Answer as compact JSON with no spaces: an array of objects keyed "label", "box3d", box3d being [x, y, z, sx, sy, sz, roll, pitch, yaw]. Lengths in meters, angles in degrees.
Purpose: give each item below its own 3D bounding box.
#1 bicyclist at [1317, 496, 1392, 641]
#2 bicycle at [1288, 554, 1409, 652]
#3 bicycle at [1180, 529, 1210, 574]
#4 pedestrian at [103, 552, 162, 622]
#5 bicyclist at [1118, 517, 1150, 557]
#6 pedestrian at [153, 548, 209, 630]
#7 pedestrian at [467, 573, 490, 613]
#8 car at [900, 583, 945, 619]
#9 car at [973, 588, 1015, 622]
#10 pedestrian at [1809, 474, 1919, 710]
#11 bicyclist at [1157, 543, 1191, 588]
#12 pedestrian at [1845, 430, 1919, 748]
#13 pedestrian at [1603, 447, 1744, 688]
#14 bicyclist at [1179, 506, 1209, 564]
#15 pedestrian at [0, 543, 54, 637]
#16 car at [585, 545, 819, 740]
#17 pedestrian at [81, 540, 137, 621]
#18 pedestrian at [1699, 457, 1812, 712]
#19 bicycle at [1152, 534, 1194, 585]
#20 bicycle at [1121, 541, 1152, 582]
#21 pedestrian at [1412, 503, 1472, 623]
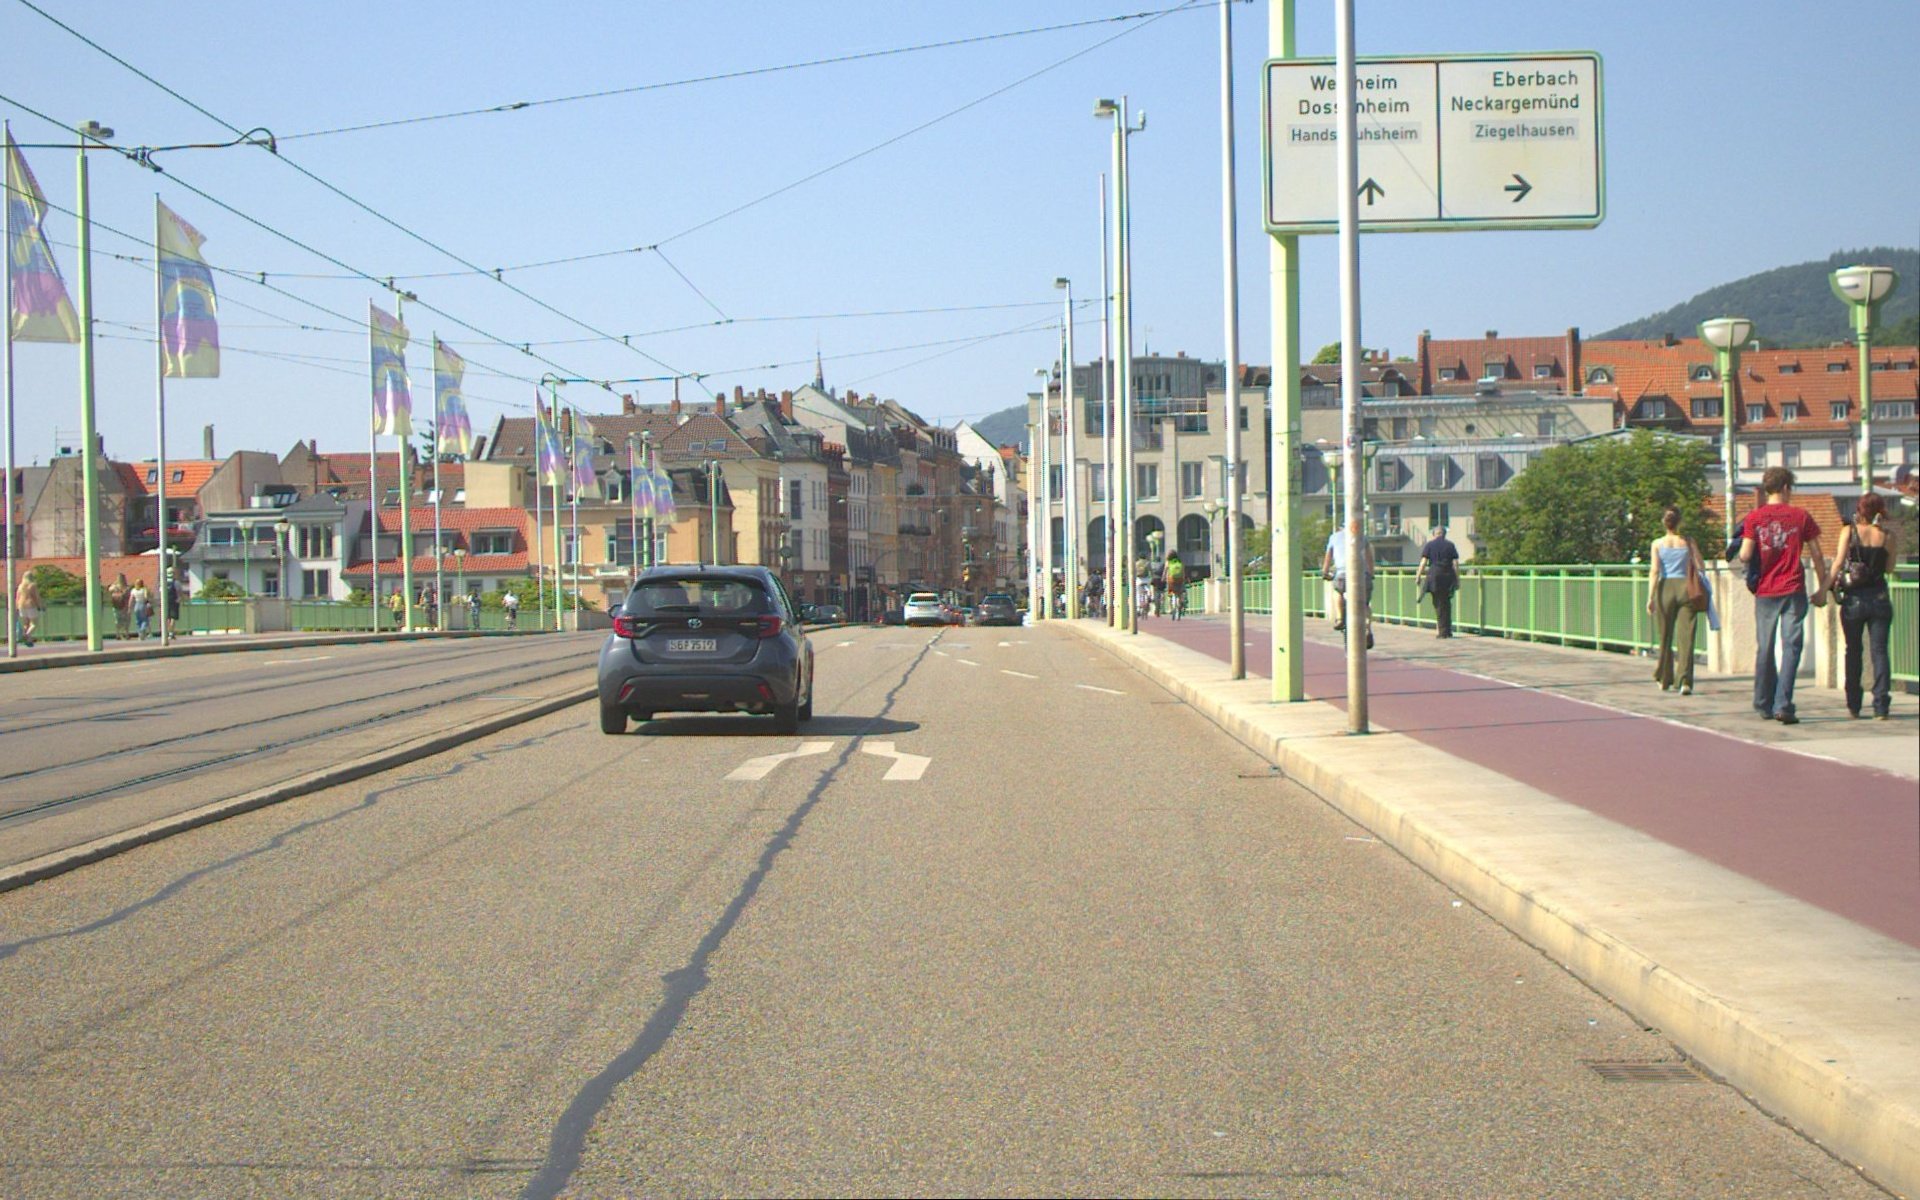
[{"label":"bicyclist","box3d":[4.830,-0.395,42.153,0.673,1.738,1.151,-2,1,-4]},{"label":"bicycle","box3d":[4.763,0.011,42.416,0.792,1.092,3.745,-2,1,-4]},{"label":"bicycle","box3d":[6.698,-1.381,98.058,0.618,1.266,2.216,-1,1,-1]},{"label":"pedestrian","box3d":[-20.718,-0.321,86.092,1.097,1.723,1.295,0,1,2]},{"label":"bicyclist","box3d":[4.513,-1.628,89.255,0.735,1.027,1.175,-1,1,-1]},{"label":"pedestrian","box3d":[-19.579,-0.294,86.411,1.097,2.007,1.295,-1,1,-2]},{"label":"pedestrian","box3d":[-20.741,-0.309,148.104,0.830,1.716,1.094,0,1,0]},{"label":"car","box3d":[-1.667,0.037,153.019,1.804,1.464,4.000,-3,1,-2]},{"label":"car","box3d":[1.633,0.214,163.368,1.804,1.464,4.000,-3,1,3]},{"label":"pedestrian","box3d":[6.441,-0.059,24.490,0.522,1.643,0.700,-1,1,-5]},{"label":"bicyclist","box3d":[5.057,-0.817,81.344,0.666,1.041,0.980,-1,1,-4]},{"label":"pedestrian","box3d":[6.134,-0.083,21.037,0.984,1.888,1.254,-1,1,-5]},{"label":"pedestrian","box3d":[6.100,-0.281,29.433,0.873,2.007,1.059,-1,1,-5]},{"label":"bicyclist","box3d":[6.672,-1.854,98.209,0.735,1.630,0.867,-1,1,-1]},{"label":"pedestrian","box3d":[-20.421,-0.230,75.112,0.968,2.007,1.102,-1,1,-5]},{"label":"car","box3d":[-2.272,0.332,31.162,1.910,1.535,4.001,-2,2,-2]},{"label":"pedestrian","box3d":[-21.465,-0.498,86.733,1.097,2.007,1.129,-1,1,-2]},{"label":"pedestrian","box3d":[5.687,-0.118,24.592,0.585,1.787,0.632,-1,1,-4]},{"label":"bicycle","box3d":[5.047,-0.955,81.509,0.695,1.189,2.079,-2,0,-4]},{"label":"bicycle","box3d":[4.577,-1.010,89.280,0.618,1.034,2.051,-1,1,-1]},{"label":"pedestrian","box3d":[7.180,-0.564,51.240,0.654,1.737,0.979,-1,2,-5]}]
